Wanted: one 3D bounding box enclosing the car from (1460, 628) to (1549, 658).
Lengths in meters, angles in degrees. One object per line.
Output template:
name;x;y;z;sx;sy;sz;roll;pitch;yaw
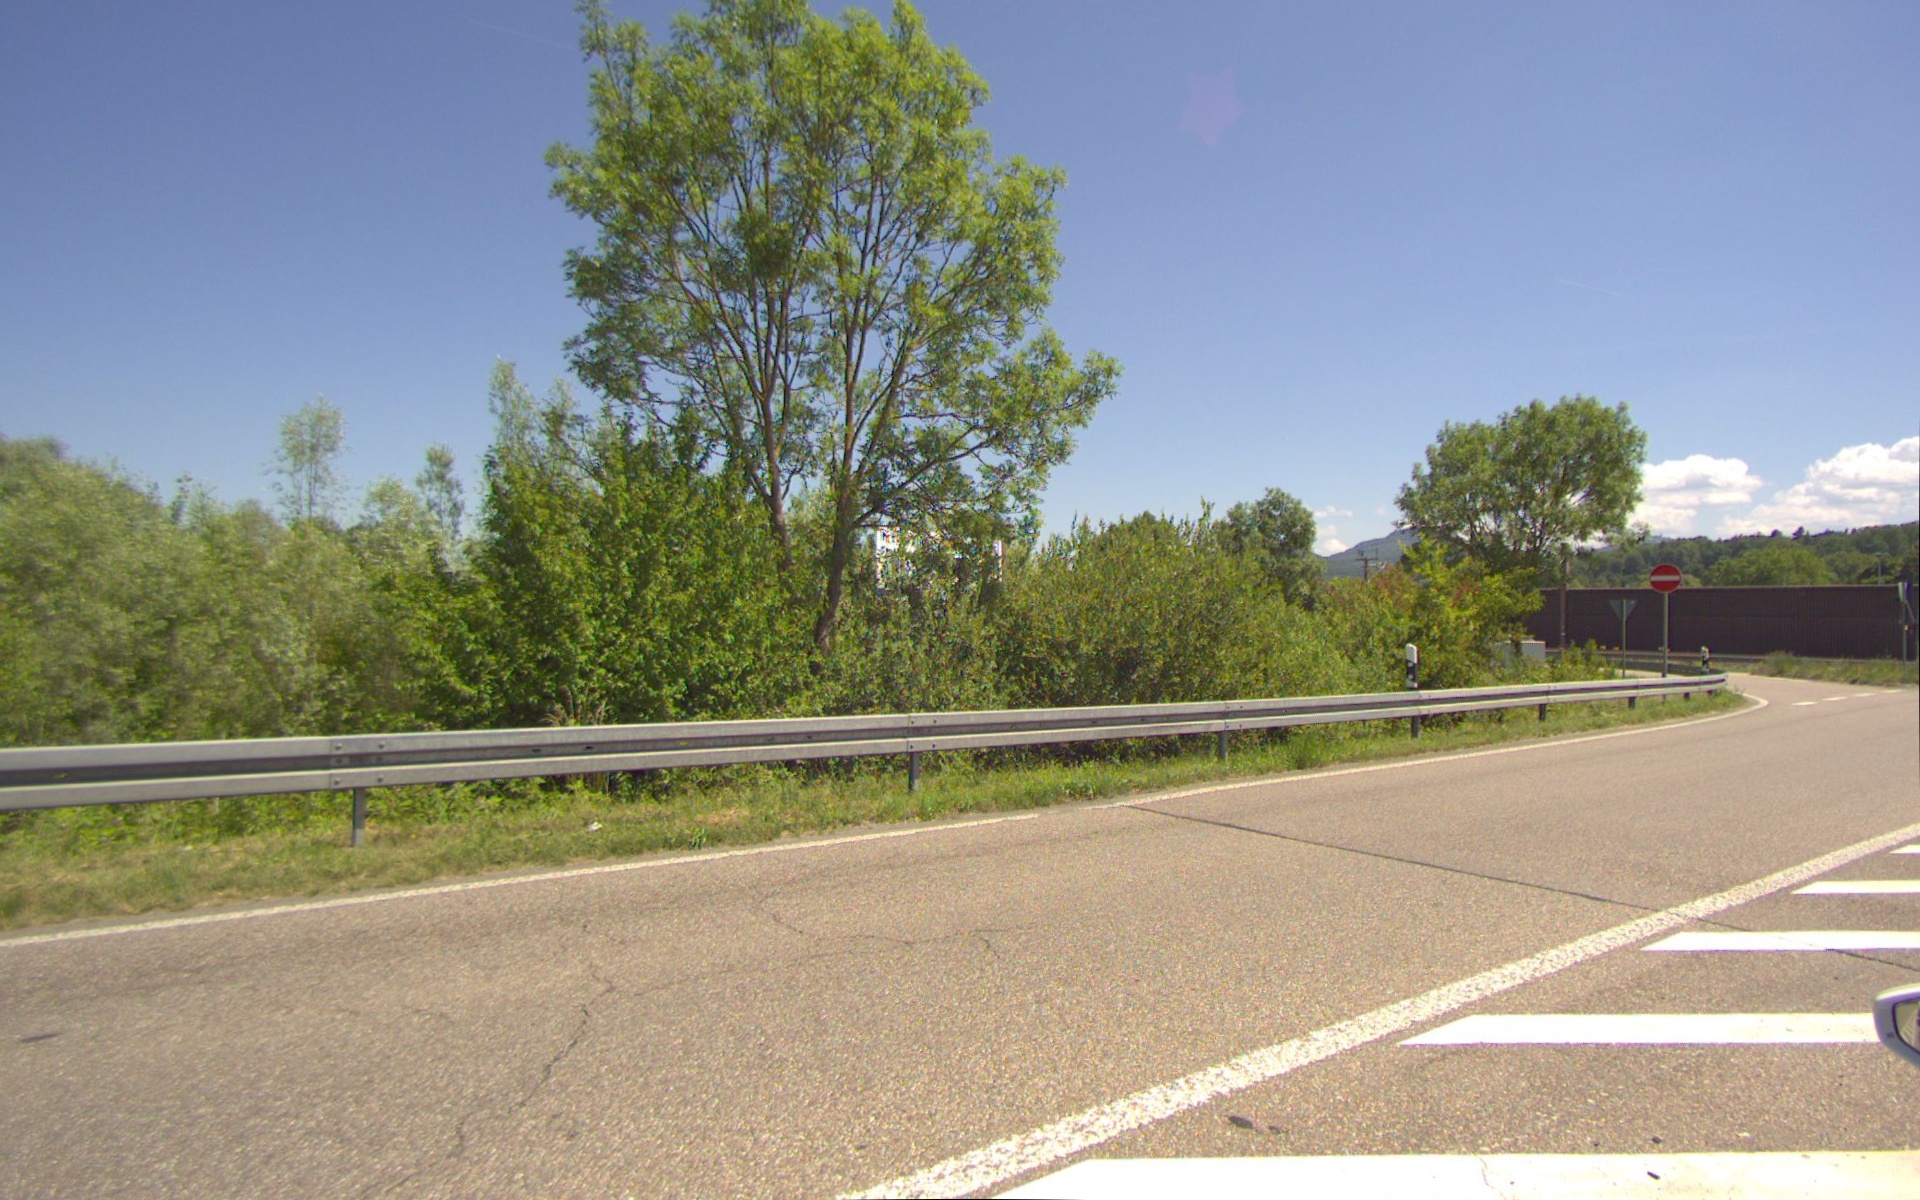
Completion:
car;30.652;2.396;56.659;1.978;1.505;3.966;2;0;-31
